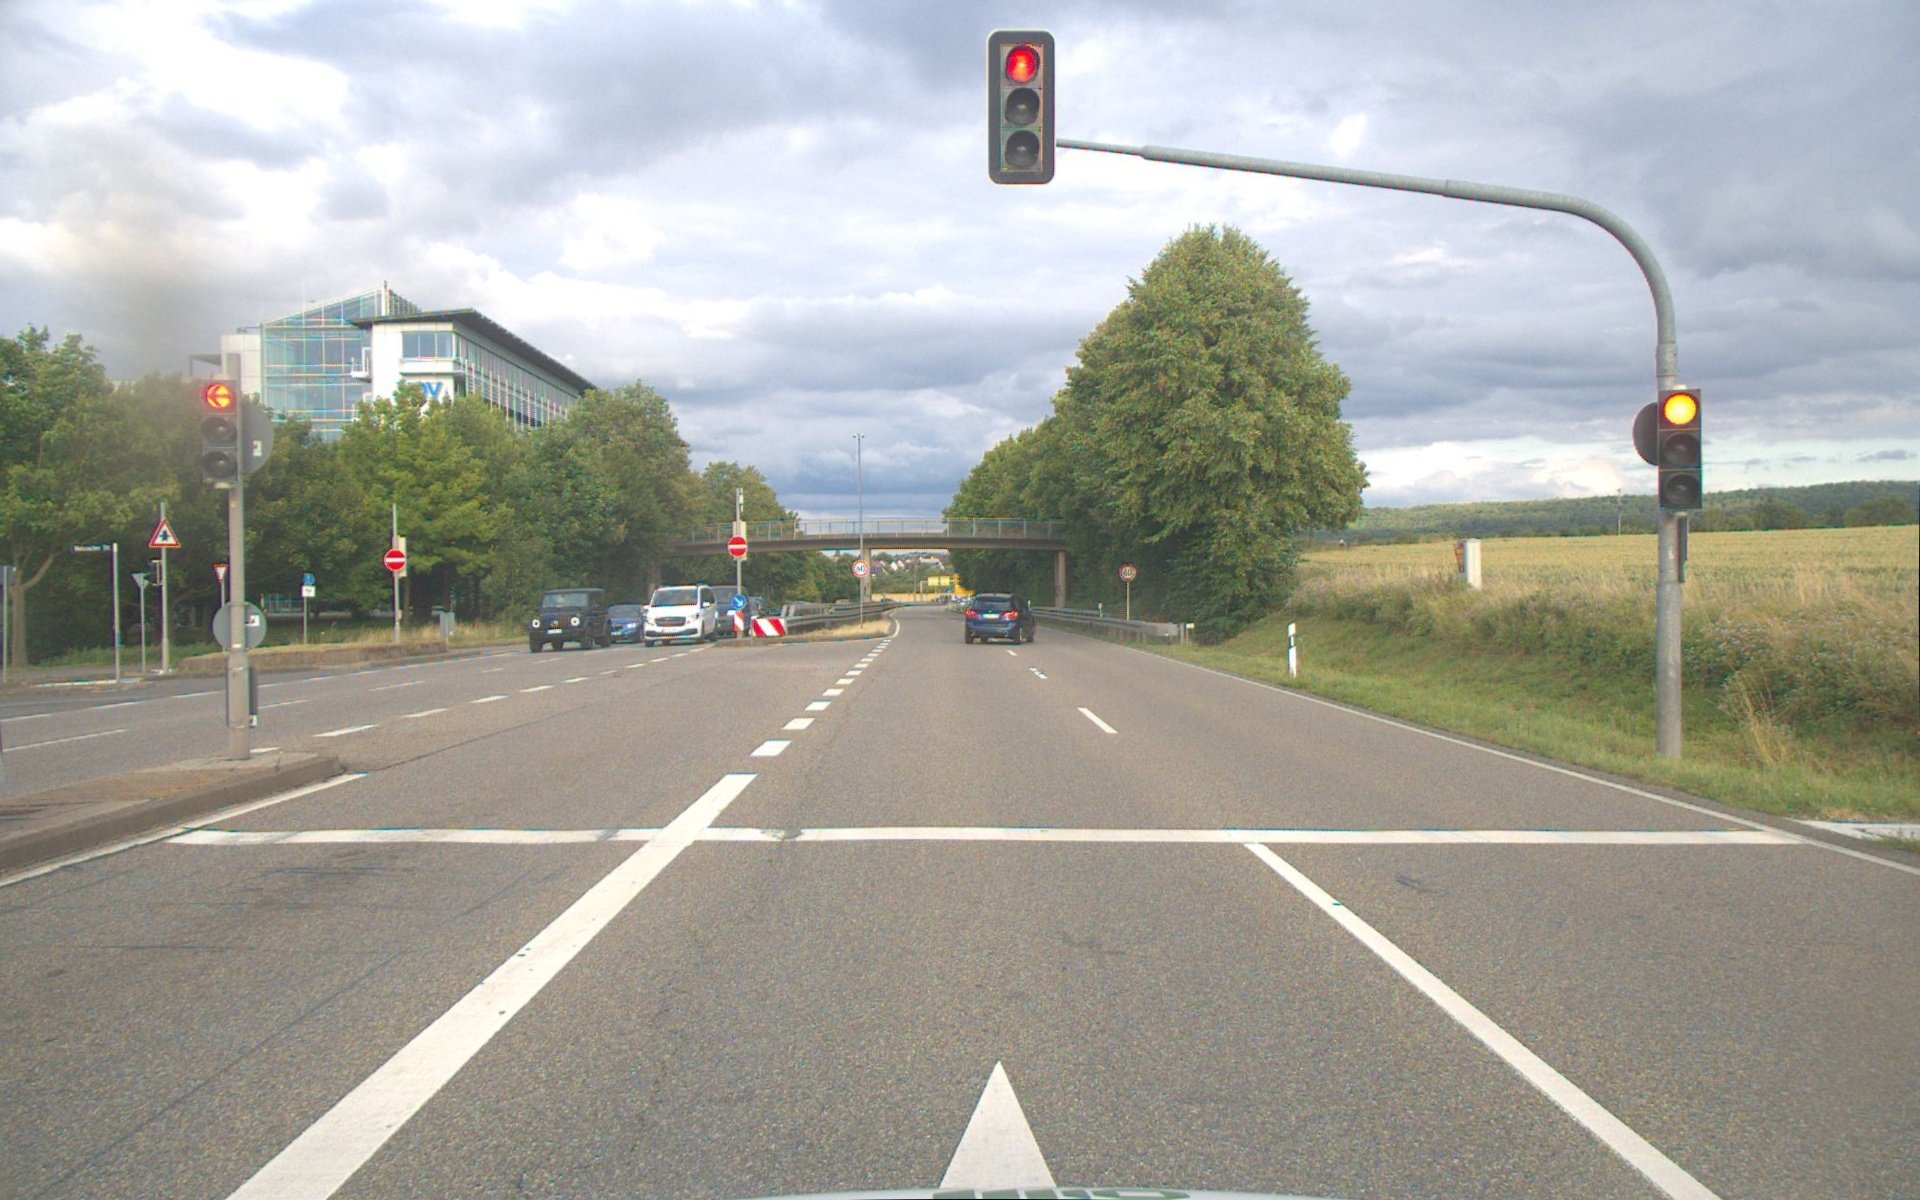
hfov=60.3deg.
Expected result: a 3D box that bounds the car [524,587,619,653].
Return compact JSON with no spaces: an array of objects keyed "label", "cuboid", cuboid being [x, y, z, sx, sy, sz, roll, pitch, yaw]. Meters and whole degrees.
[{"label":"car","cuboid":[-12.724,0.629,54.542,2.041,2.049,5.214,1,0,-2]}]

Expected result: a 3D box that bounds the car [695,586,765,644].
[{"label":"car","cuboid":[-8.622,0.556,62.451,2.041,2.049,5.214,1,0,-2]}]

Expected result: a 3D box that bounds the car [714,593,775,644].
[{"label":"car","cuboid":[-9.057,0.747,70.008,2.041,2.049,5.214,1,0,-2]}]

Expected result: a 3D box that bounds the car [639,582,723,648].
[{"label":"car","cuboid":[-9.165,0.475,54.707,2.041,2.049,5.214,1,0,-2]}]

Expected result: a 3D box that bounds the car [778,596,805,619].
[{"label":"car","cuboid":[-14.935,0.662,147.107,2.041,2.049,5.214,1,0,-2]}]

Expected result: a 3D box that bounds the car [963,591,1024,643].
[{"label":"car","cuboid":[1.107,0.531,52.713,1.840,1.579,4.001,1,0,2]}]

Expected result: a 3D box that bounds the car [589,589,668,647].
[{"label":"car","cuboid":[-12.386,0.662,62.047,2.041,2.049,5.214,1,0,-2]}]
